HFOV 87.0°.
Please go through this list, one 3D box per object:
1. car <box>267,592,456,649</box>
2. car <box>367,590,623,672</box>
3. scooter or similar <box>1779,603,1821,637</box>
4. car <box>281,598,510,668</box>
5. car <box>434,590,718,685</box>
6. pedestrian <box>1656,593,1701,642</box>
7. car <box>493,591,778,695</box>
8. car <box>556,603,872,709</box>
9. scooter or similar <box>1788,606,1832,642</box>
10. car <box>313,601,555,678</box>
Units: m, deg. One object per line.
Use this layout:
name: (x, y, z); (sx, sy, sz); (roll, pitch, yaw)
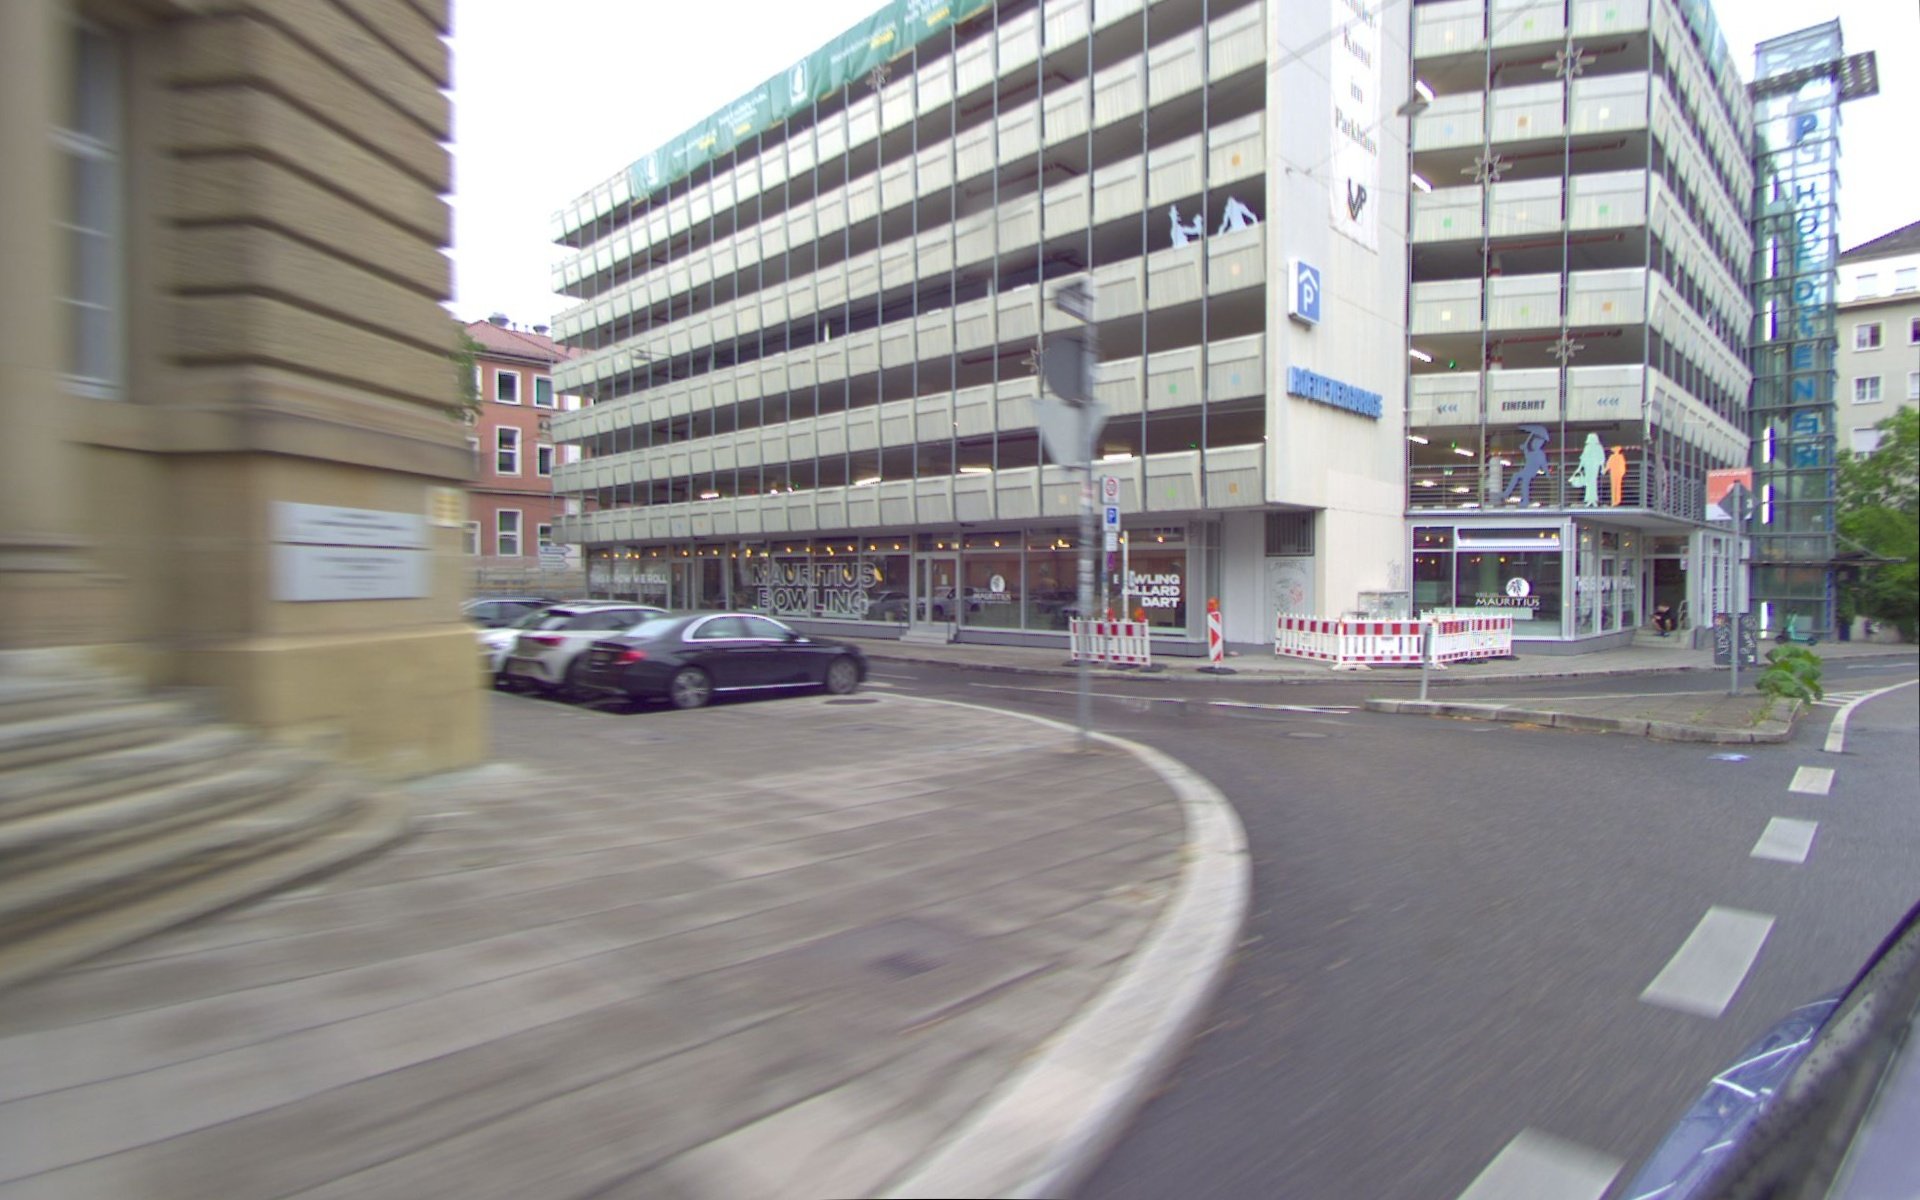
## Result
car: (-18.573, 0.591, 31.549); (4.819, 1.616, 1.977); (-1, 0, -41)
car: (-10.264, 0.607, 22.601); (1.975, 1.616, 4.825); (-1, 0, 45)
scooter or similar: (30.881, 0.718, 37.205); (1.065, 1.188, 0.462); (2, 1, 24)
car: (-14.477, 0.782, 26.158); (1.975, 1.616, 4.825); (-1, 0, 45)
car: (-7.353, 0.636, 19.760); (1.975, 1.616, 4.825); (-1, 0, 45)
pedestrian: (21.637, 0.501, 30.490); (0.903, 1.400, 1.016); (4, 3, 45)
car: (-5.712, 0.667, 18.165); (4.476, 1.616, 1.975); (-1, 0, -44)
car: (-3.841, 0.795, 16.361); (4.622, 1.416, 1.975); (-1, 0, -44)
scooter or similar: (29.804, 0.829, 35.503); (1.065, 1.188, 0.462); (2, 1, 24)
car: (-12.504, 0.866, 24.290); (1.975, 1.616, 4.825); (-1, 0, 45)
